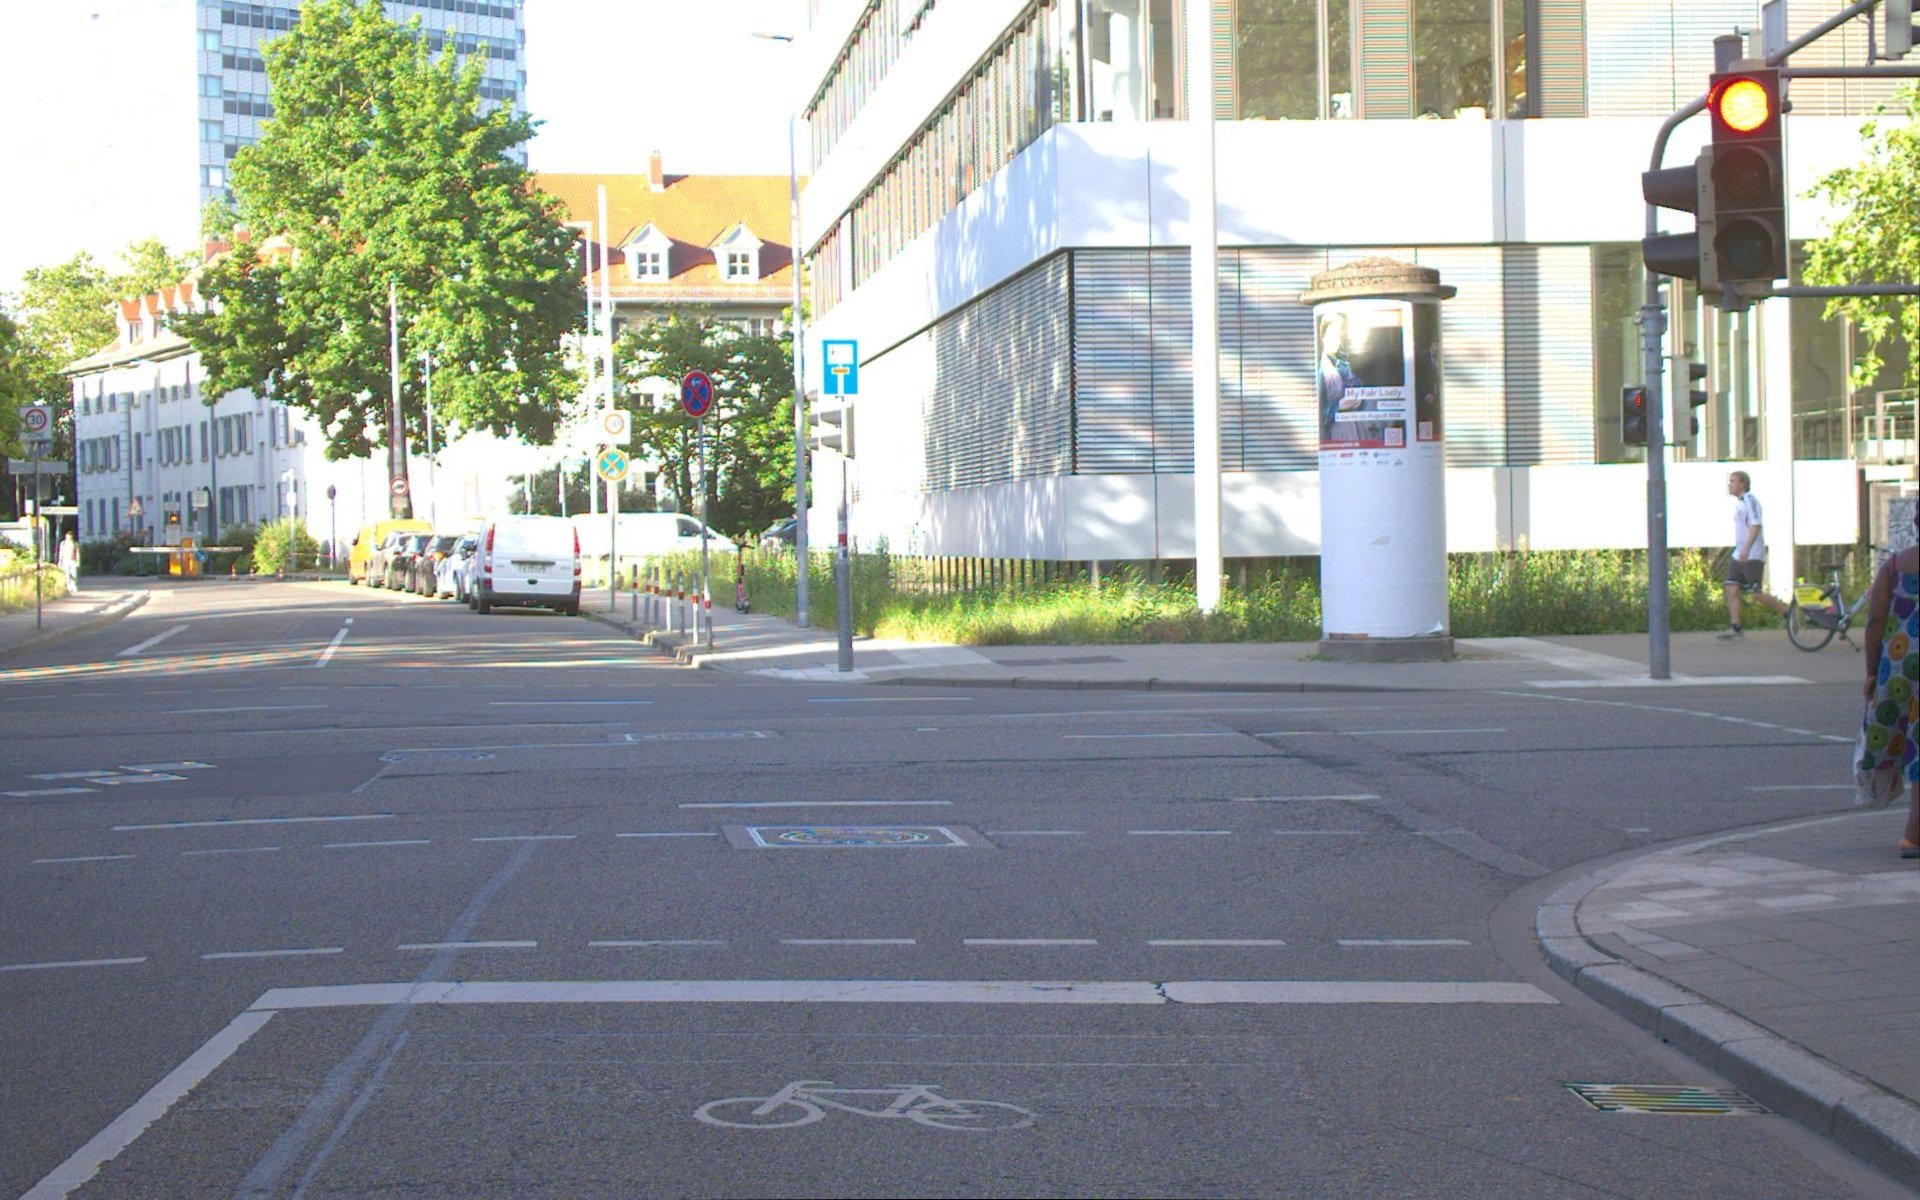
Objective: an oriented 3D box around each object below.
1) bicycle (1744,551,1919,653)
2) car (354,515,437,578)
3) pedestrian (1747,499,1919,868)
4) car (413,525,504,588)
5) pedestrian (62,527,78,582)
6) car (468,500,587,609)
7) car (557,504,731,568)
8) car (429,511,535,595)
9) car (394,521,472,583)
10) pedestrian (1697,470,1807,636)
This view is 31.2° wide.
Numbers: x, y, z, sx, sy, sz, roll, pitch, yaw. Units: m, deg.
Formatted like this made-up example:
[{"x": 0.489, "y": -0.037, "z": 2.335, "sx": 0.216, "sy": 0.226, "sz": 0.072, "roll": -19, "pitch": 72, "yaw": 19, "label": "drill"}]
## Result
[{"x": 9.184, "y": 0.013, "z": 36.113, "sx": 0.463, "sy": 1.045, "sz": 1.914, "roll": -2, "pitch": 2, "yaw": -42, "label": "bicycle"}, {"x": -15.739, "y": -1.500, "z": 95.651, "sx": 2.100, "sy": 1.652, "sz": 4.477, "roll": -1, "pitch": 1, "yaw": -11, "label": "car"}, {"x": 4.126, "y": 0.354, "z": 15.164, "sx": 0.956, "sy": 1.568, "sz": 0.749, "roll": -3, "pitch": 1, "yaw": 36, "label": "pedestrian"}, {"x": -11.899, "y": -1.045, "z": 81.360, "sx": 1.703, "sy": 1.419, "sz": 4.239, "roll": -1, "pitch": 1, "yaw": -14, "label": "car"}, {"x": -24.947, "y": -1.270, "z": 96.362, "sx": 0.380, "sy": 1.529, "sz": 0.446, "roll": -1, "pitch": 1, "yaw": -12, "label": "pedestrian"}, {"x": -8.167, "y": -0.875, "z": 64.636, "sx": 2.066, "sy": 1.956, "sz": 4.239, "roll": -1, "pitch": 1, "yaw": -9, "label": "car"}, {"x": -9.458, "y": -1.906, "z": 102.780, "sx": 4.880, "sy": 1.865, "sz": 2.001, "roll": 0, "pitch": 0, "yaw": -17, "label": "car"}, {"x": -10.671, "y": -1.069, "z": 76.554, "sx": 1.946, "sy": 1.789, "sz": 4.239, "roll": -1, "pitch": 1, "yaw": -13, "label": "car"}, {"x": -13.190, "y": -1.213, "z": 85.831, "sx": 1.703, "sy": 1.459, "sz": 4.239, "roll": -1, "pitch": 1, "yaw": -11, "label": "car"}, {"x": 8.821, "y": -0.523, "z": 38.291, "sx": 1.039, "sy": 1.824, "sz": 0.538, "roll": 0, "pitch": 1, "yaw": 36, "label": "pedestrian"}]
